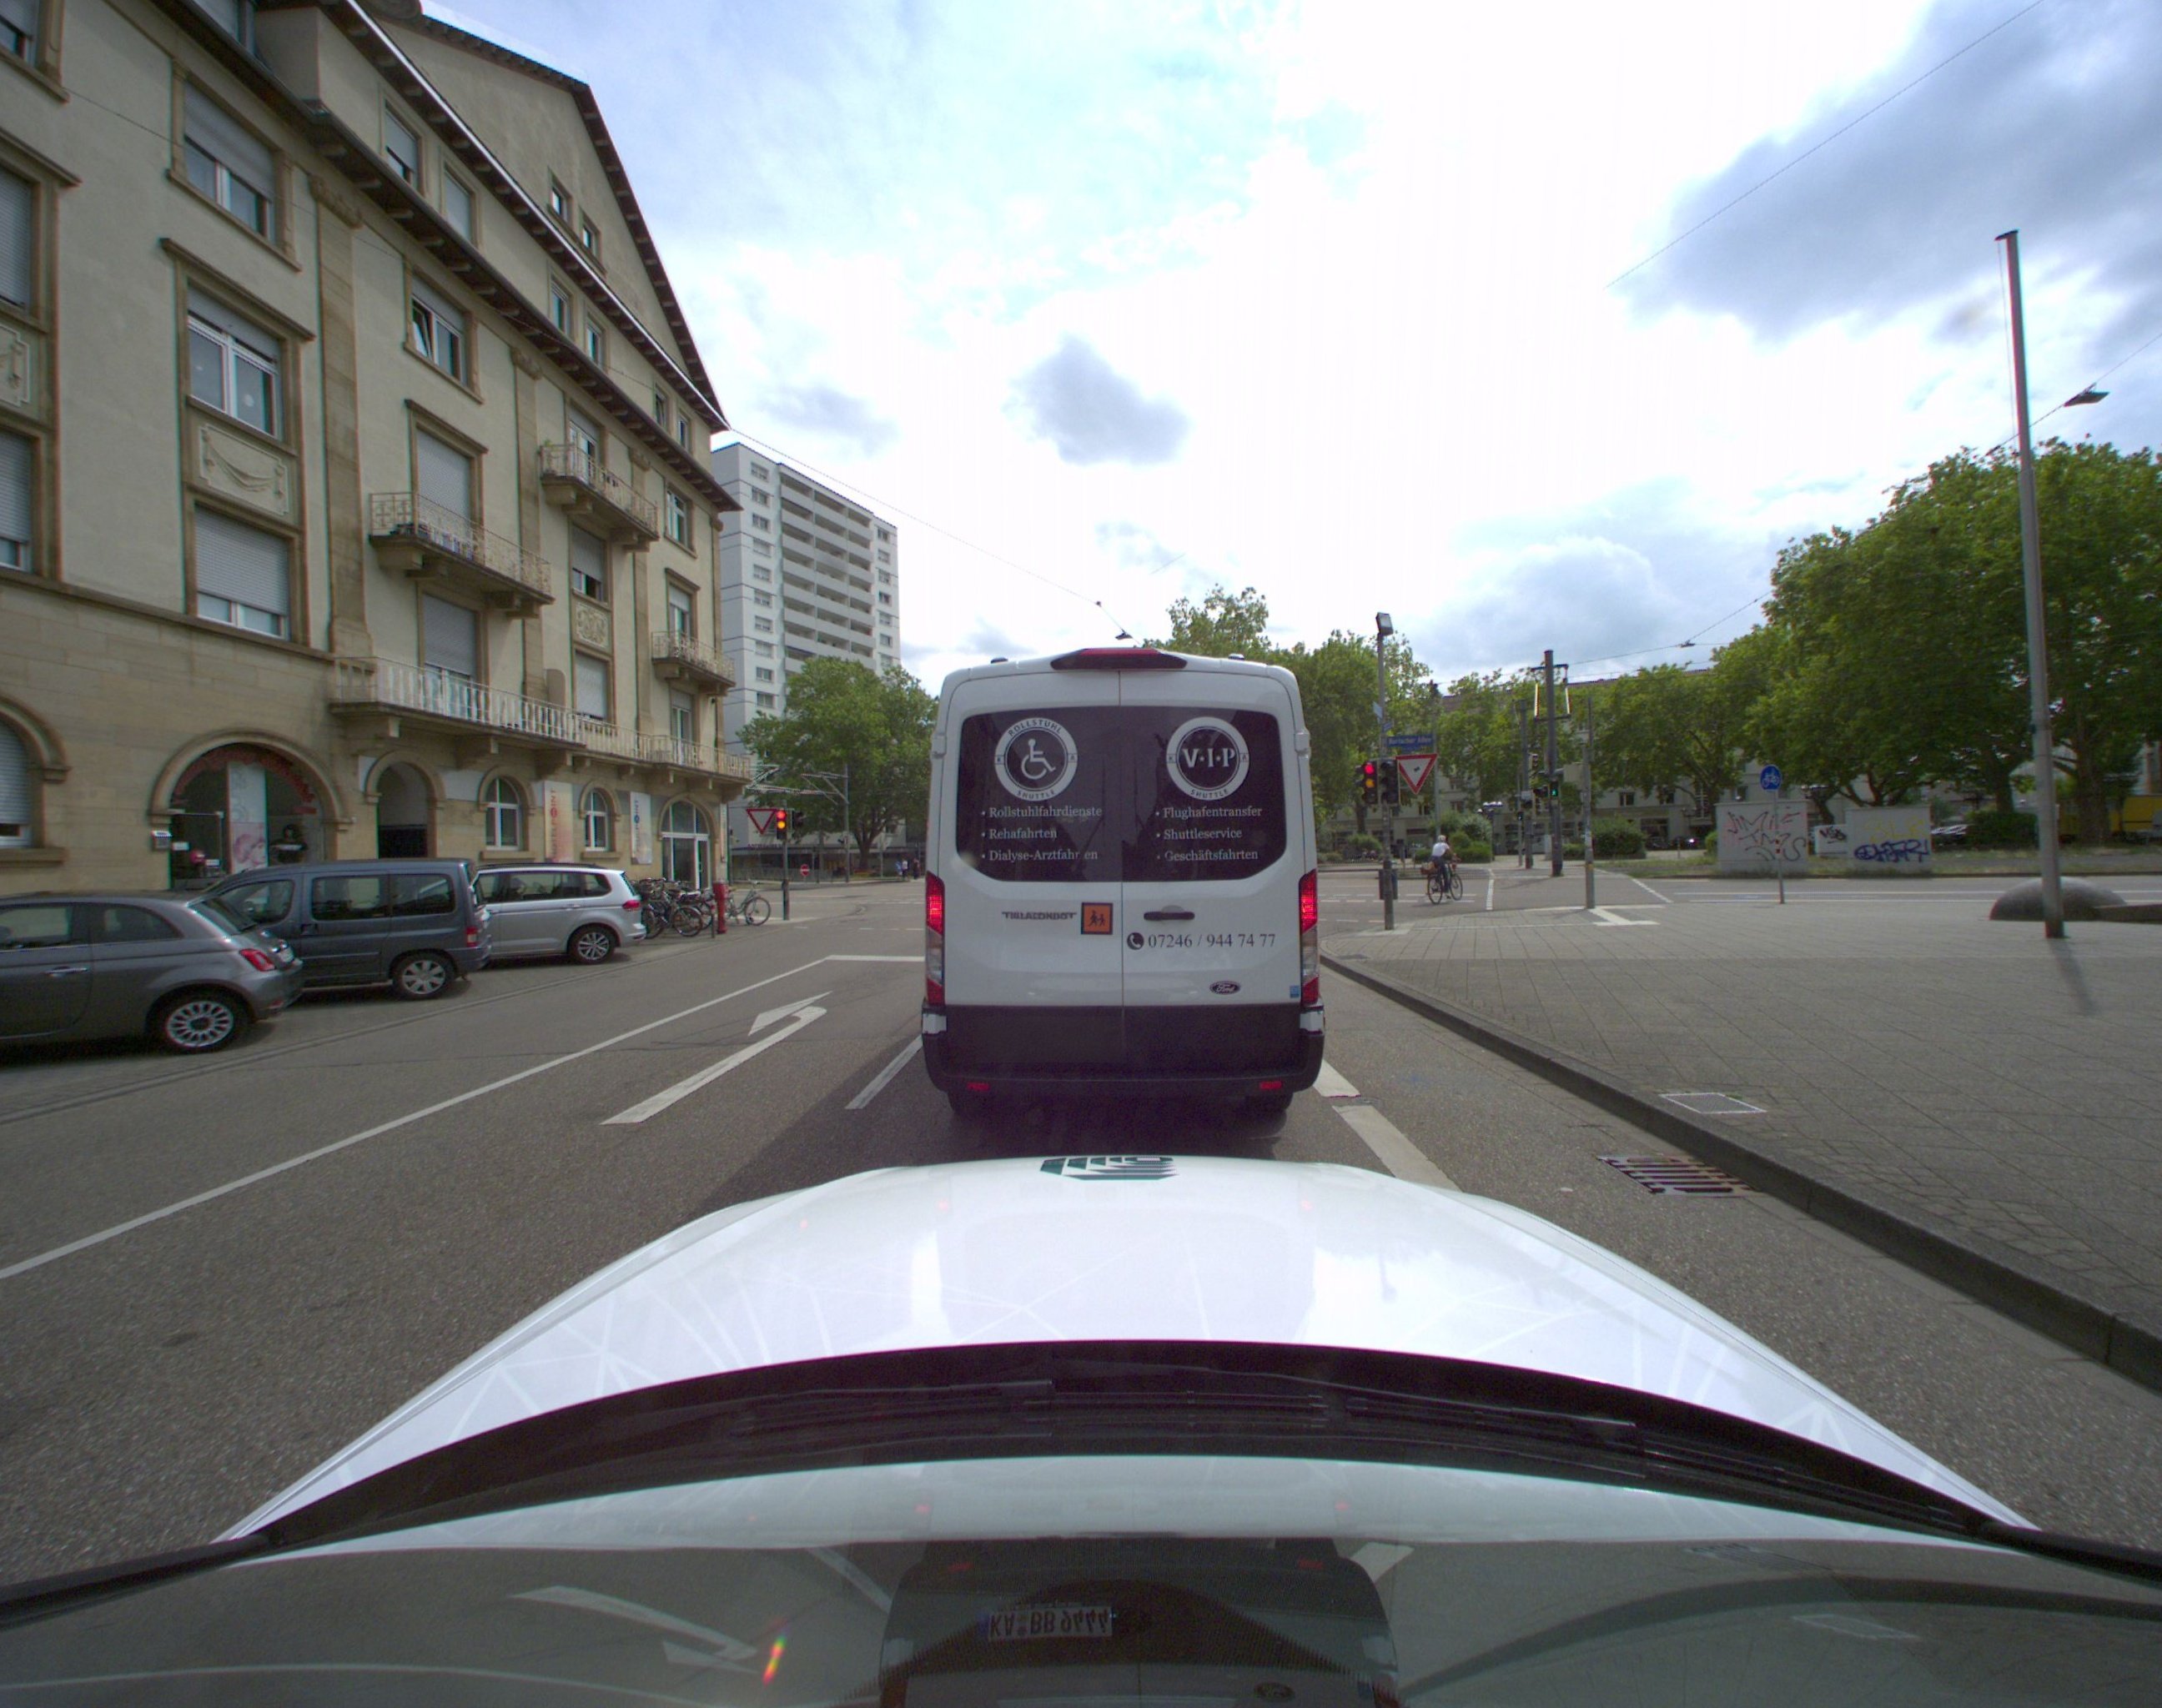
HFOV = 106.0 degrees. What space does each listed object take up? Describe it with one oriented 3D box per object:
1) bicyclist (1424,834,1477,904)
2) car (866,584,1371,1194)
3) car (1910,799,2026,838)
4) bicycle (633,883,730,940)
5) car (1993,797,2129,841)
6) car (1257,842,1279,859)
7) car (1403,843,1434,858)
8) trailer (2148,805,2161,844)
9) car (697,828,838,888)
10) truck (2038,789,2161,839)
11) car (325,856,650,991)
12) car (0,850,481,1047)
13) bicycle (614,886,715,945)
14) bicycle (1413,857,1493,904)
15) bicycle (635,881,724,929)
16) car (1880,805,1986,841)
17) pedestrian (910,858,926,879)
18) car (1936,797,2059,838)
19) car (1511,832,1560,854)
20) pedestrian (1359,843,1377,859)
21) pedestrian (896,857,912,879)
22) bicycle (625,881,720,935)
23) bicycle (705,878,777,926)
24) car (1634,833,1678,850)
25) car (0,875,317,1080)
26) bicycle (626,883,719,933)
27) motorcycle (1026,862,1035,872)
[{"bbox_3d":[9.311,0.370,20.527,0.759,1.683,0.897,-2,0,-32],"label":"bicyclist"},{"bbox_3d":[0.199,0.119,5.902,2.174,2.647,4.629,-1,1,1],"label":"car"},{"bbox_3d":[66.666,-2.634,61.356,5.271,2.585,2.512,-2,-1,24],"label":"car"},{"bbox_3d":[-8.593,1.227,17.538,1.800,1.120,0.595,2,0,5],"label":"bicycle"},{"bbox_3d":[64.947,-2.260,54.107,5.271,2.585,2.192,-2,-1,24],"label":"car"},{"bbox_3d":[21.696,-0.385,94.609,1.983,1.930,4.008,-2,0,7],"label":"car"},{"bbox_3d":[36.260,-0.402,87.514,1.983,1.503,4.008,-2,0,7],"label":"car"},{"bbox_3d":[55.363,-1.503,39.228,4.381,1.925,1.865,-2,0,26],"label":"trailer"},{"bbox_3d":[-22.259,0.325,57.640,9.793,3.915,3.476,-2,0,26],"label":"car"},{"bbox_3d":[58.593,-2.229,46.254,3.042,2.577,6.549,-2,0,25],"label":"truck"},{"bbox_3d":[-9.496,0.994,13.352,4.031,1.773,1.776,-2,0,-37],"label":"car"},{"bbox_3d":[-9.927,0.960,10.022,4.031,1.878,1.776,-2,0,-37],"label":"car"},{"bbox_3d":[-8.619,1.264,16.864,1.799,1.120,0.595,-2,0,8],"label":"bicycle"},{"bbox_3d":[9.391,0.656,20.553,1.977,1.075,0.896,-2,0,-33],"label":"bicycle"},{"bbox_3d":[-9.644,1.218,19.609,1.807,1.120,0.593,0,0,-6],"label":"bicycle"},{"bbox_3d":[68.911,-2.490,66.008,5.271,2.585,2.512,-2,-1,24],"label":"car"},{"bbox_3d":[-12.227,1.108,60.986,0.921,1.514,0.728,-2,0,44],"label":"pedestrian"},{"bbox_3d":[65.722,-2.571,58.539,5.271,2.585,2.512,-2,-1,24],"label":"car"},{"bbox_3d":[43.460,-1.031,77.985,3.950,1.883,1.868,-2,0,26],"label":"car"},{"bbox_3d":[24.698,-0.256,70.002,1.086,1.236,1.443,-4,-1,6],"label":"pedestrian"},{"bbox_3d":[-12.982,1.036,59.843,0.799,1.572,0.728,-2,0,34],"label":"pedestrian"},{"bbox_3d":[-9.153,1.206,18.287,1.807,1.166,0.593,0,0,-6],"label":"bicycle"},{"bbox_3d":[-8.643,1.206,20.702,1.859,1.167,0.500,0,-1,22],"label":"bicycle"},{"bbox_3d":[55.420,-1.166,78.587,1.757,1.503,4.008,-2,0,7],"label":"car"},{"bbox_3d":[-9.882,1.108,7.430,4.031,1.651,1.776,-2,0,-37],"label":"car"},{"bbox_3d":[-9.460,1.243,18.906,1.807,1.120,0.593,0,0,-6],"label":"bicycle"},{"bbox_3d":[-5.623,1.431,90.754,0.680,0.971,2.325,-2,0,2],"label":"motorcycle"}]
